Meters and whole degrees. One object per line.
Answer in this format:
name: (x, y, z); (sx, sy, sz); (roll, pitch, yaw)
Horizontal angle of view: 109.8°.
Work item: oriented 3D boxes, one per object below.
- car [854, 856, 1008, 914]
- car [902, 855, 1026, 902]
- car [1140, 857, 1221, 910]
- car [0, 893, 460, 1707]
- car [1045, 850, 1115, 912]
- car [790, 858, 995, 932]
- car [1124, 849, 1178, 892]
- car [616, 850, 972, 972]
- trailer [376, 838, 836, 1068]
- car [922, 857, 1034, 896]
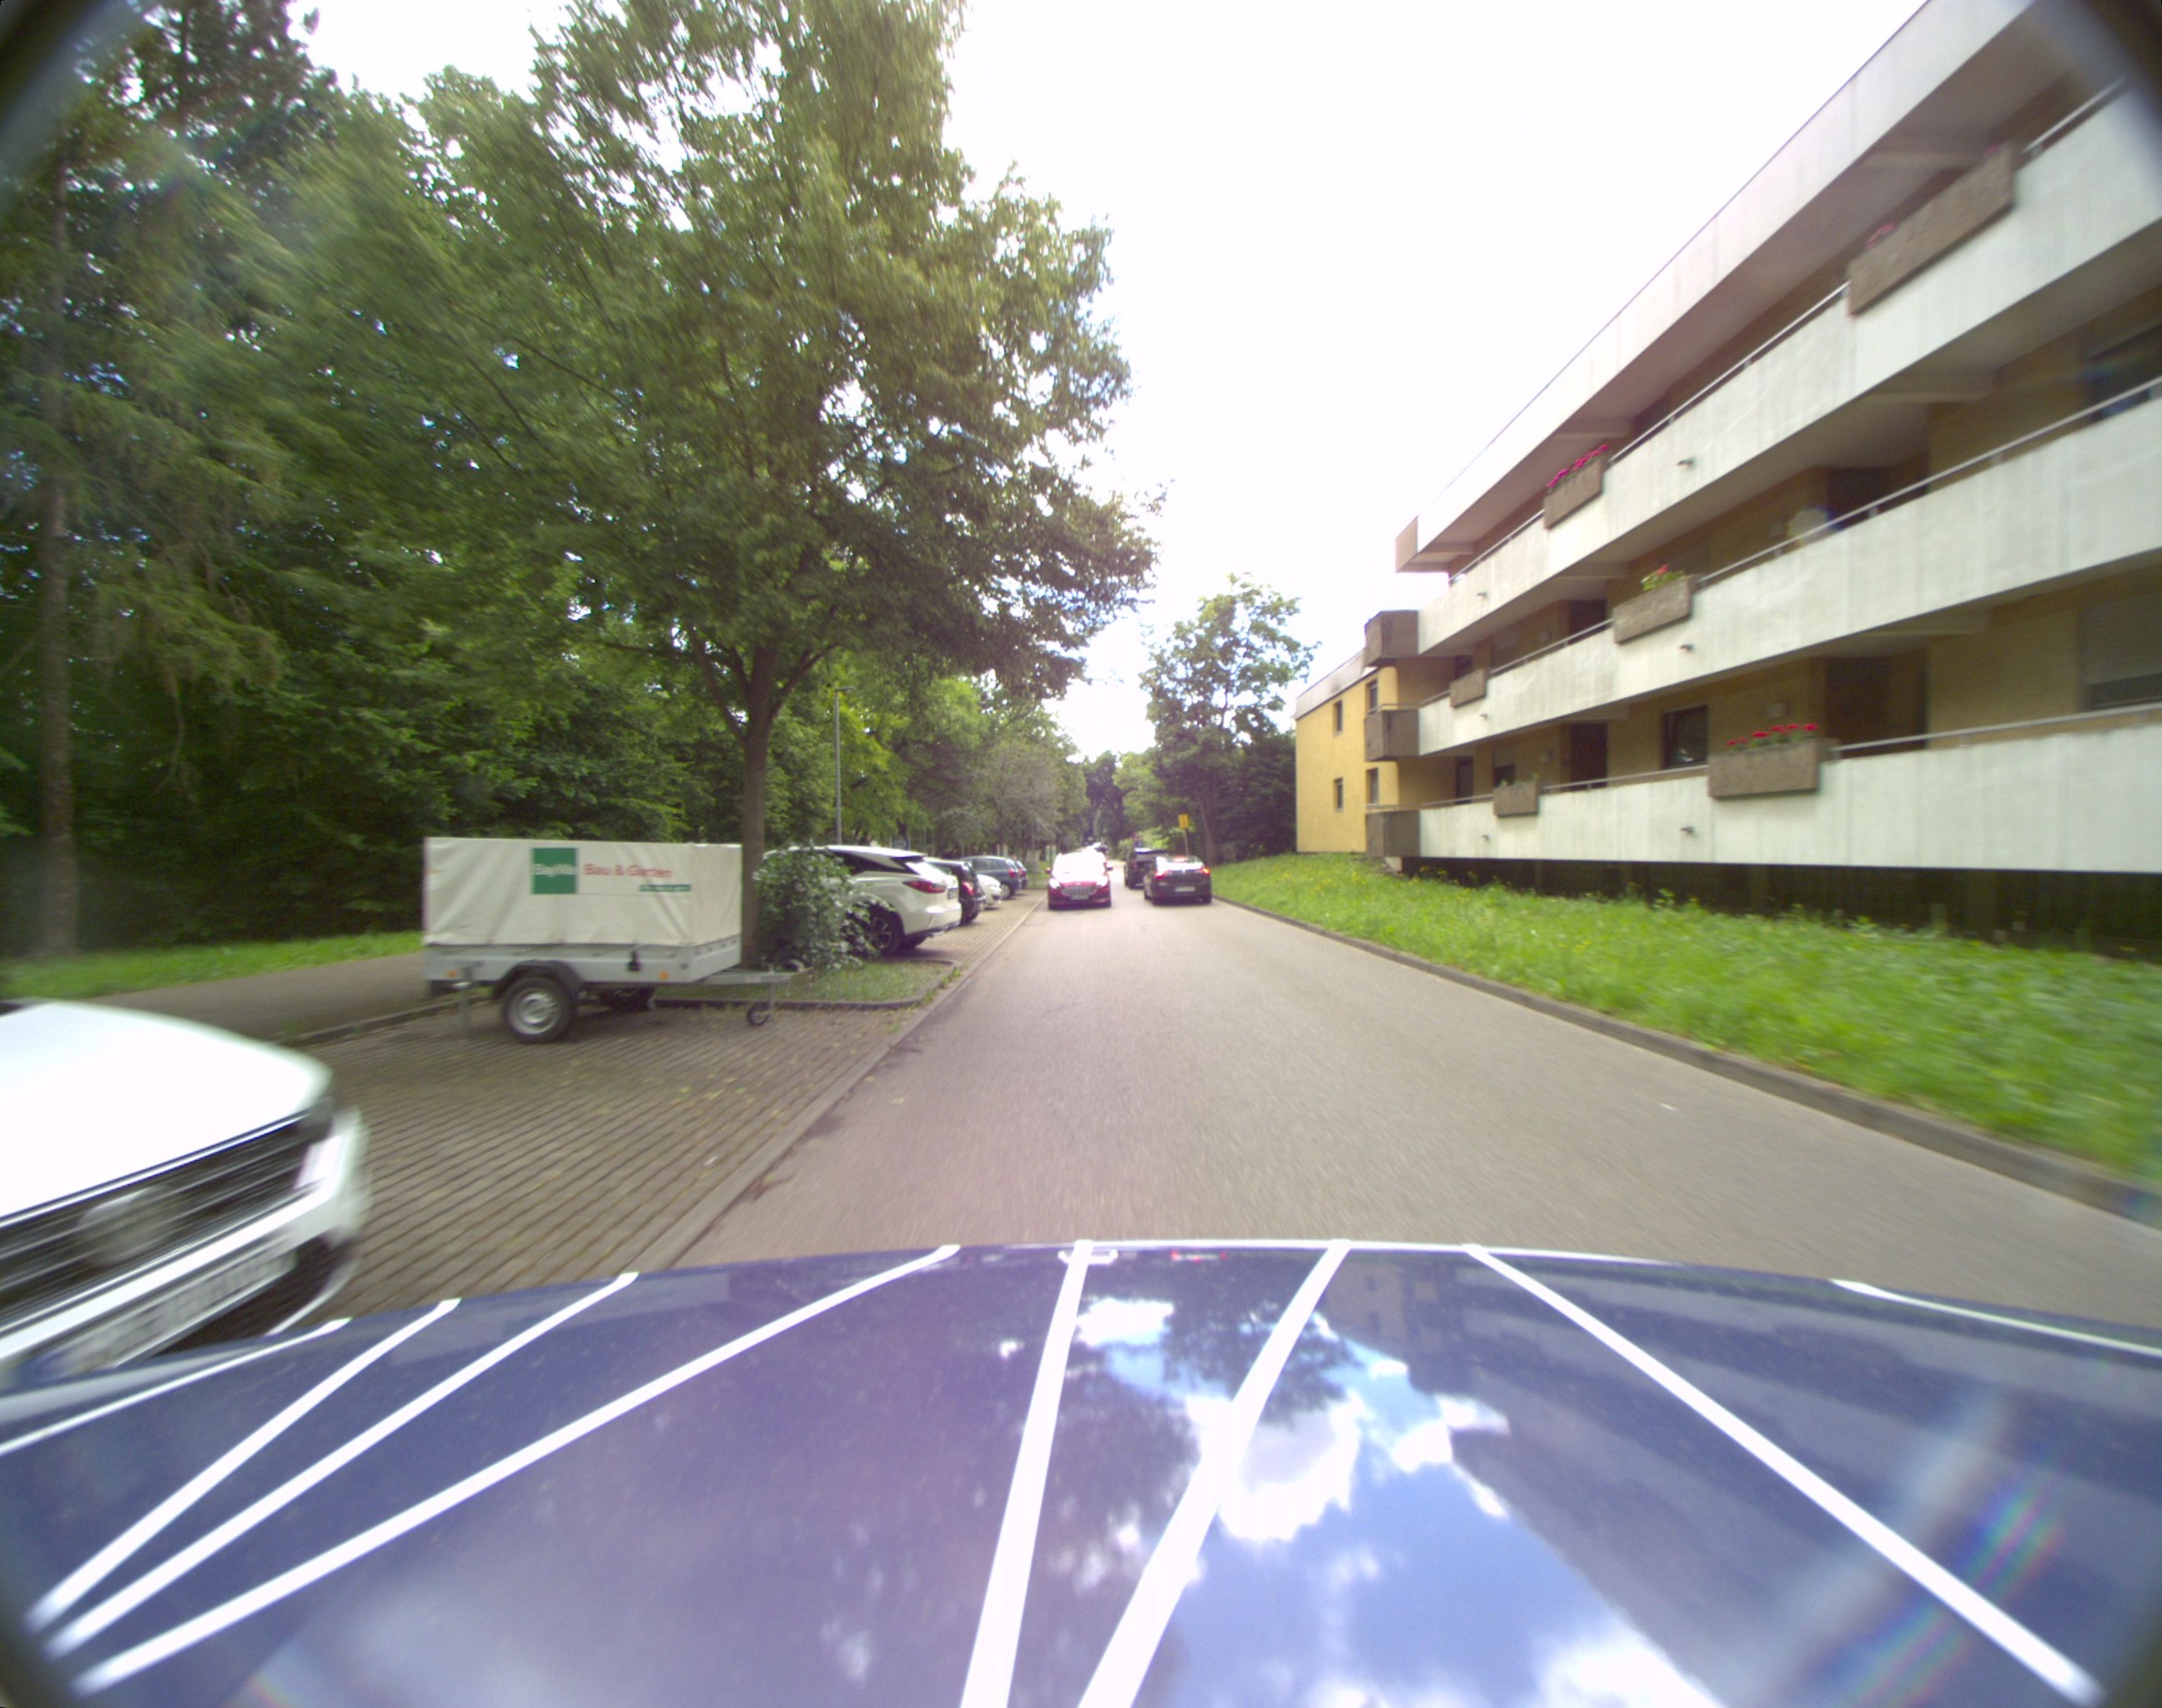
car: (-4.274, 0.855, 22.145); (4.170, 1.561, 1.785); (0, 1, -3)
car: (-4.087, 0.831, 27.014); (4.146, 1.561, 1.785); (0, 1, -1)
car: (2.978, 0.843, 23.604); (1.918, 1.403, 4.423); (-2, 0, 0)
car: (-4.079, 0.893, 1.498); (4.124, 1.539, 1.860); (1, 1, -2)
car: (0.001, 0.761, 24.070); (1.918, 1.707, 5.038); (-2, 0, 1)
car: (-4.188, 0.889, 17.371); (4.168, 1.561, 1.851); (0, 1, 3)
car: (3.013, 0.649, 33.698); (1.918, 1.707, 5.058); (-2, 0, 1)
car: (-4.317, 0.811, 11.937); (4.828, 1.683, 1.974); (1, 1, 4)
trailer: (-3.921, 0.773, 6.681); (3.037, 1.780, 1.563); (1, 1, -2)
car: (-3.956, 0.857, 29.669); (4.097, 1.455, 1.785); (0, 1, -1)
